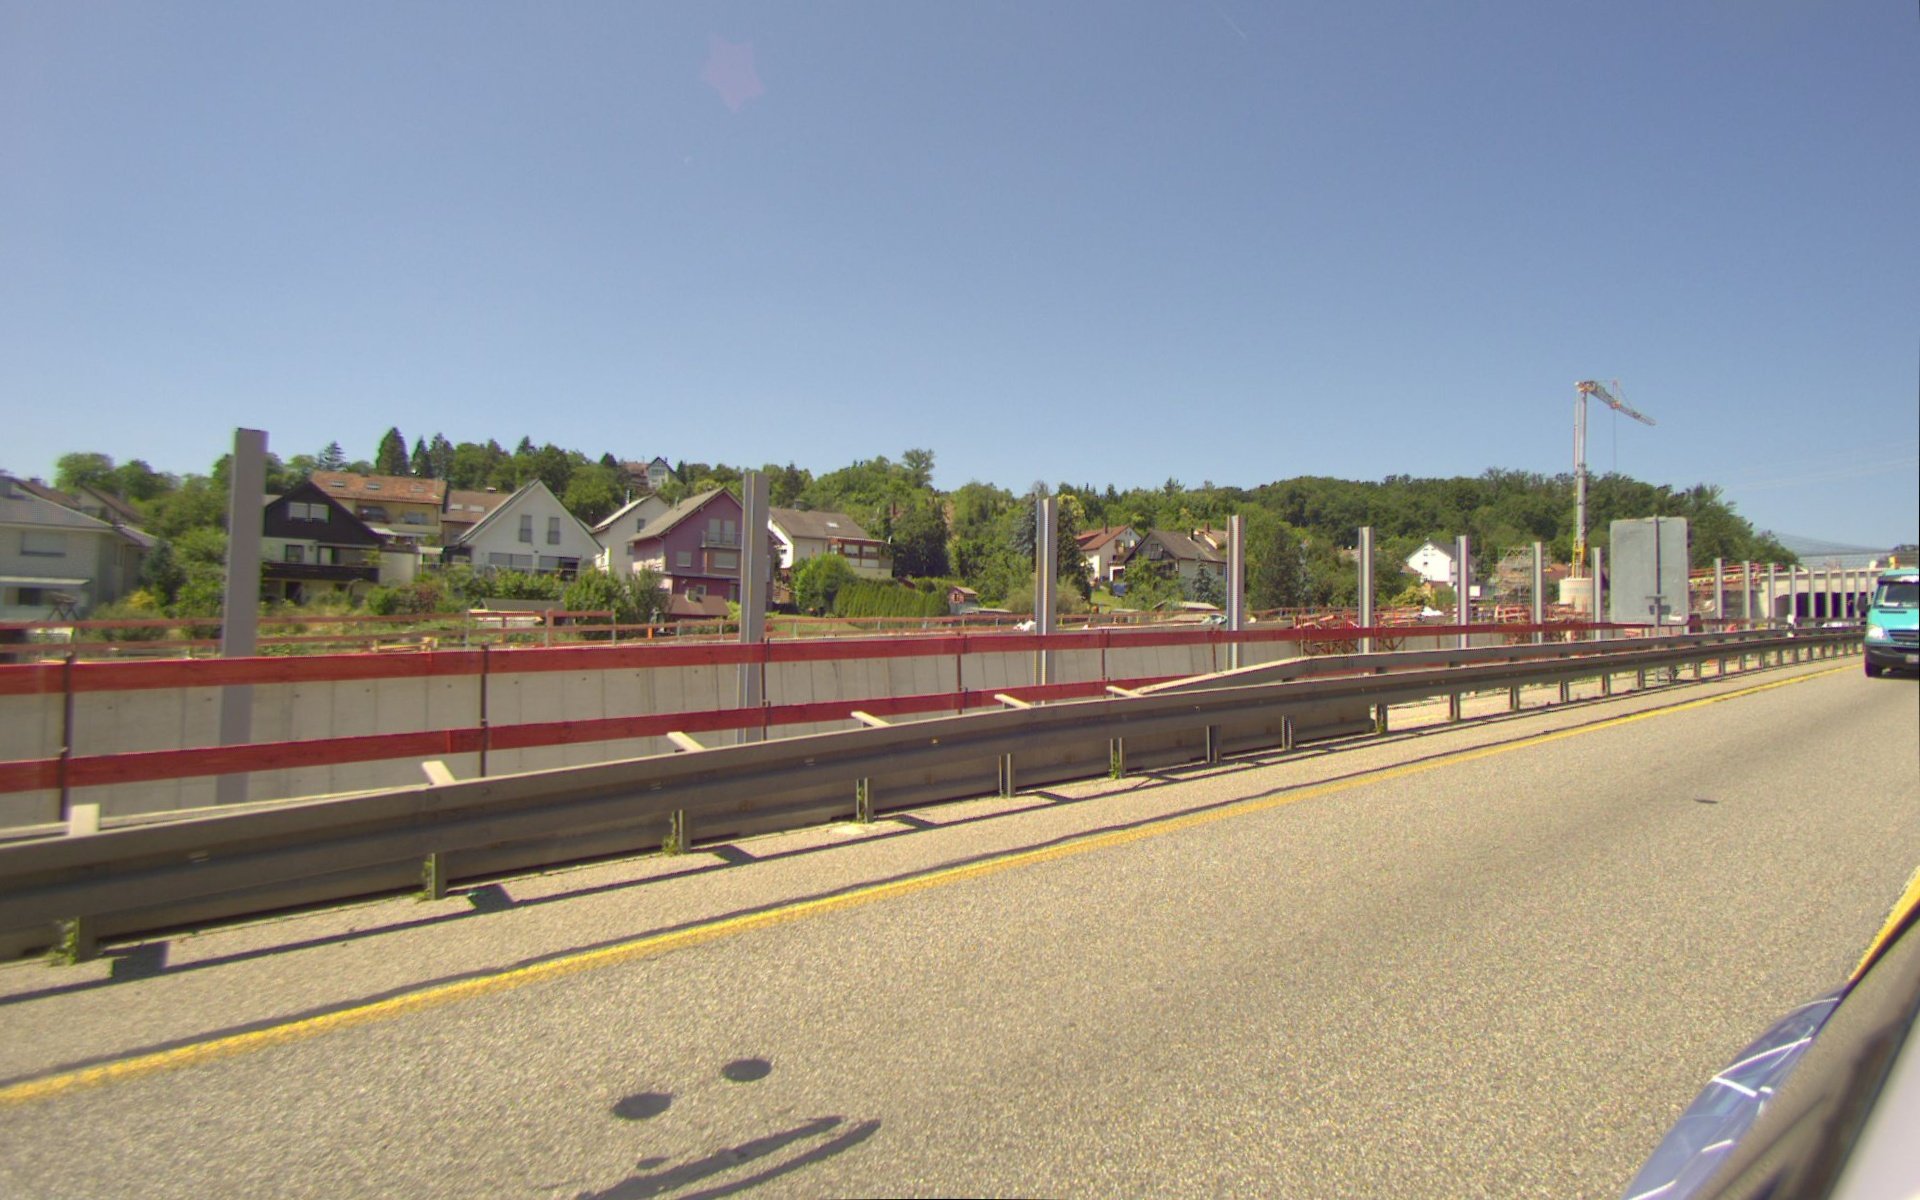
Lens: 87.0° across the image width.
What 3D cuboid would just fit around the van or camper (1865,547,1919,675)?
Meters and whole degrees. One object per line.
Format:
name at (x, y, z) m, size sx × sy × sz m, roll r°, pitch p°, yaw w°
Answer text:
van or camper at (21.805, 0.244, 22.128) m, size 7.537 × 2.504 × 2.096 m, roll 0°, pitch 0°, yaw -41°
